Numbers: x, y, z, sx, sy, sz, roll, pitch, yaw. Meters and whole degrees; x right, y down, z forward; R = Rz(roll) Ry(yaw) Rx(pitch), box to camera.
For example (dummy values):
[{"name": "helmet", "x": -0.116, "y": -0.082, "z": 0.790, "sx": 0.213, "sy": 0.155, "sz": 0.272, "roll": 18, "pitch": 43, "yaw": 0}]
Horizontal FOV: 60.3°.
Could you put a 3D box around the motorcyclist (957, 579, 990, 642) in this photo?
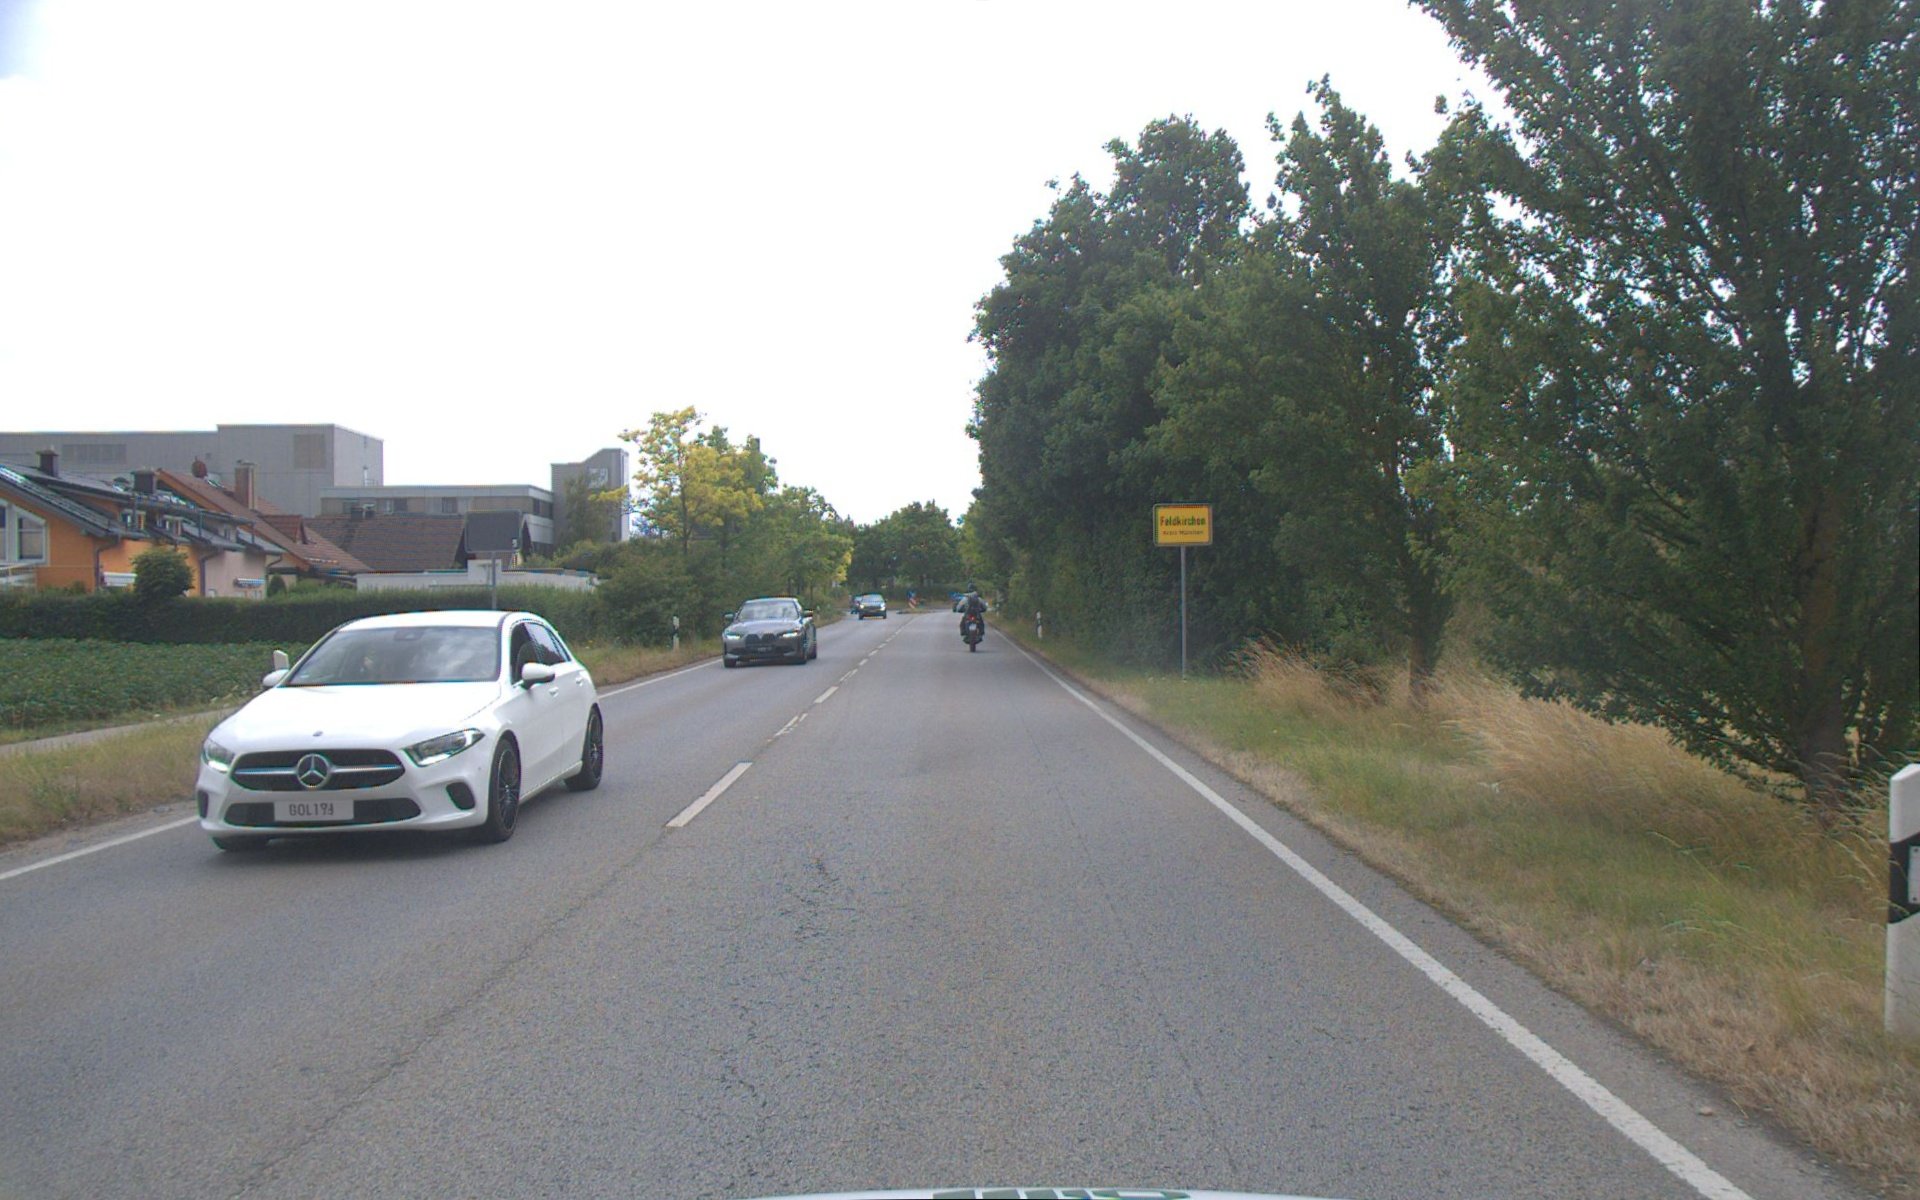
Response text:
[{"name": "motorcyclist", "x": 0.360, "y": 0.285, "z": 44.342, "sx": 0.844, "sy": 1.652, "sz": 1.190, "roll": -1, "pitch": 0, "yaw": -1}]

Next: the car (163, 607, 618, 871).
[{"name": "car", "x": -3.657, "y": 0.798, "z": 11.452, "sx": 1.737, "sy": 1.397, "sz": 4.099, "roll": -2, "pitch": 0, "yaw": -1}]

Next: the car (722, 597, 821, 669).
[{"name": "car", "x": -4.253, "y": 0.706, "z": 37.872, "sx": 1.815, "sy": 1.490, "sz": 4.369, "roll": -2, "pitch": 0, "yaw": -1}]

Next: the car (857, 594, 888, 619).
[{"name": "car", "x": -5.622, "y": 0.427, "z": 106.812, "sx": 1.779, "sy": 1.520, "sz": 4.203, "roll": -2, "pitch": 0, "yaw": -1}]

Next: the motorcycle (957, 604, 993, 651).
[{"name": "motorcycle", "x": 0.377, "y": 0.722, "z": 44.282, "sx": 0.878, "sy": 1.178, "sz": 2.620, "roll": -1, "pitch": 0, "yaw": -1}]
